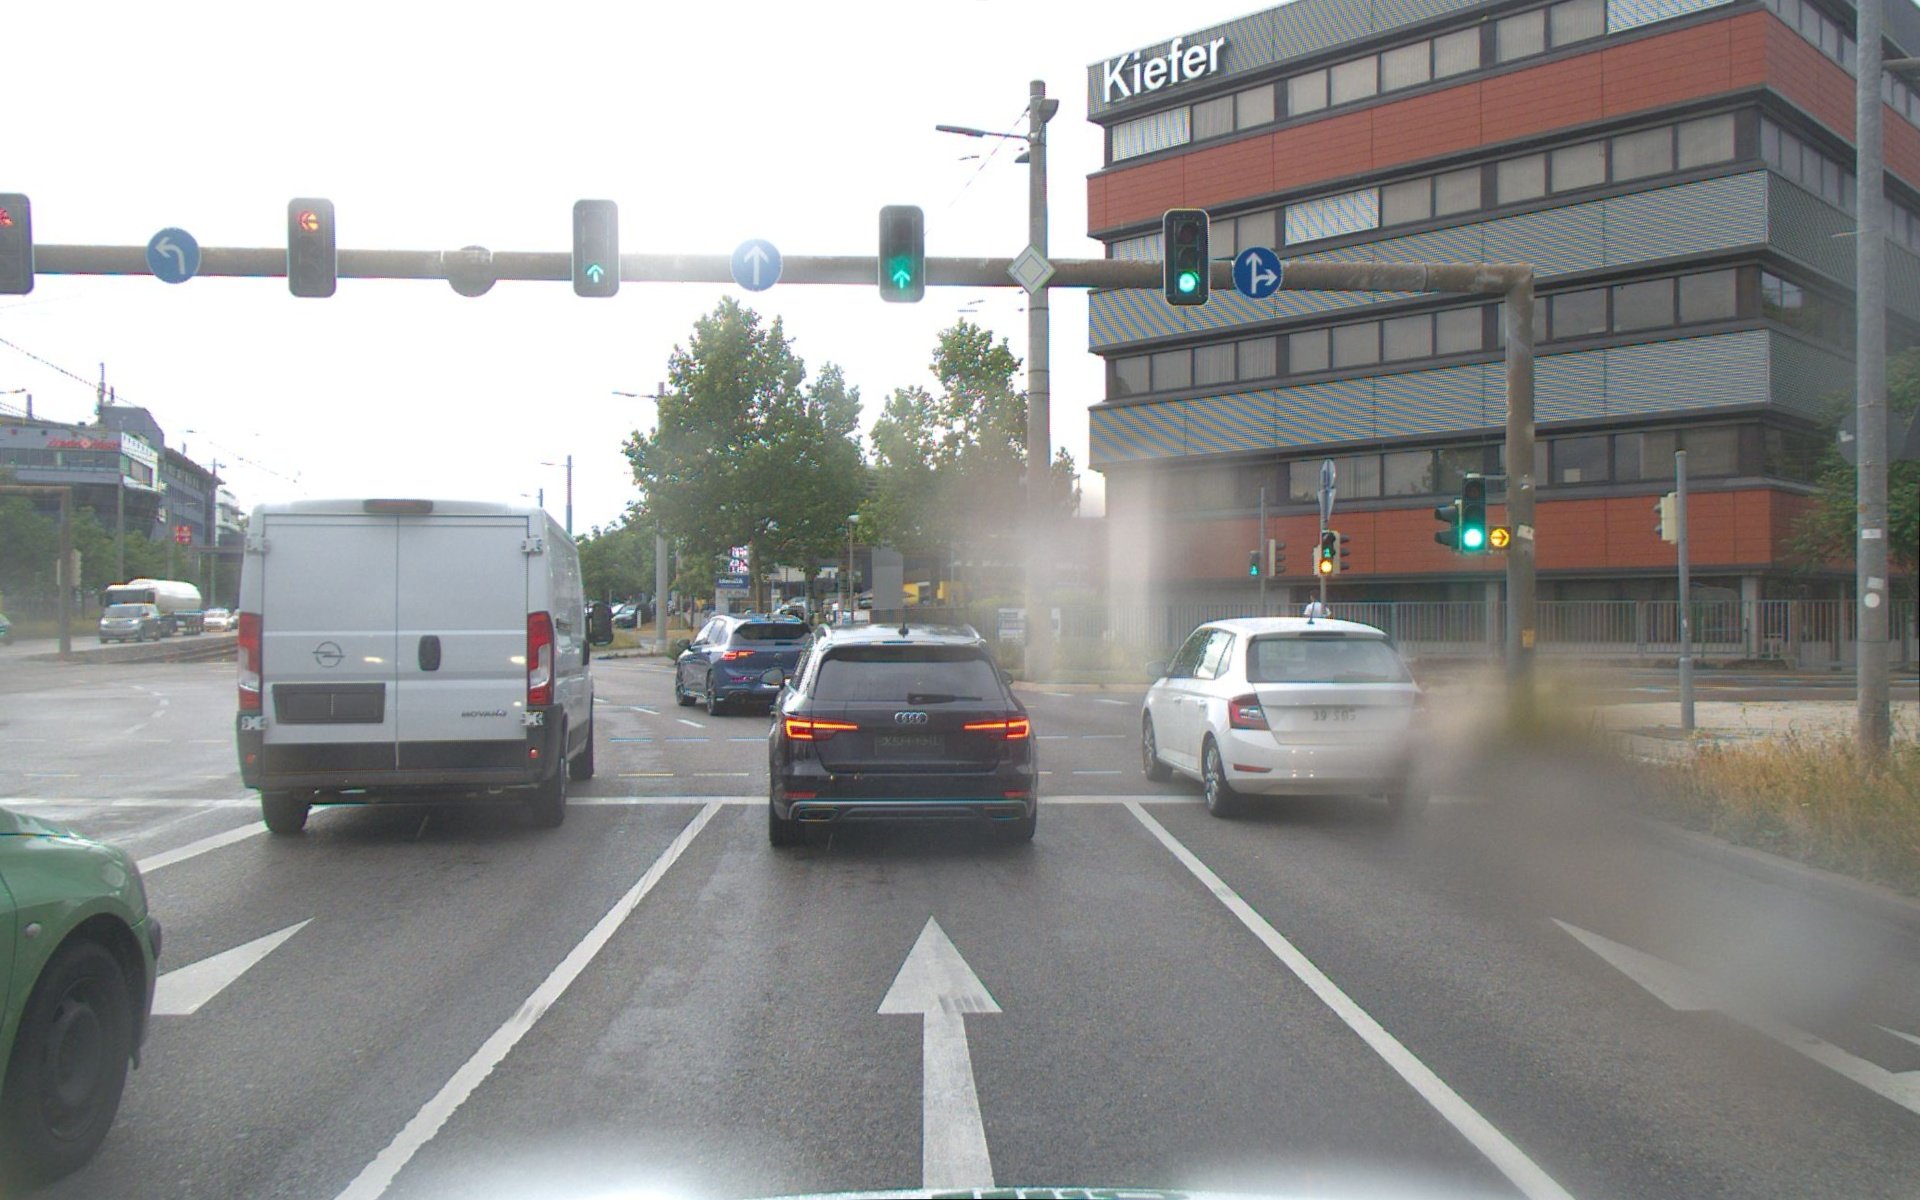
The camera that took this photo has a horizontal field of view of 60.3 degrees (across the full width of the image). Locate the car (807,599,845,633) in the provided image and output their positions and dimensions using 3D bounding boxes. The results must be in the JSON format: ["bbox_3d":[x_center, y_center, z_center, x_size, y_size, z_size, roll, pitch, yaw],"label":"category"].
[{"bbox_3d":[-8.463,1.040,104.110,1.652,2.049,3.525,3,-2,-16],"label":"car"}]

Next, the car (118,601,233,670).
[{"bbox_3d":[-24.986,1.101,52.832,1.738,2.049,4.344,2,-1,-4],"label":"car"}]

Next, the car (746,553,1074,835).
[{"bbox_3d":[-0.319,0.606,11.892,1.953,1.666,3.999,0,-1,-1],"label":"car"}]

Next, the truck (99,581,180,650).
[{"bbox_3d":[-48.016,0.963,96.918,2.695,3.872,5.399,-1,-1,-9],"label":"truck"}]

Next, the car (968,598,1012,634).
[{"bbox_3d":[1.795,0.989,99.220,1.649,2.049,3.121,3,-2,-18],"label":"car"}]

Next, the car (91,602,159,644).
[{"bbox_3d":[-42.271,1.151,83.828,1.960,1.869,4.891,3,0,-14],"label":"car"}]

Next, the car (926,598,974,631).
[{"bbox_3d":[-0.685,0.952,107.567,1.844,2.049,3.749,3,-2,-21],"label":"car"}]

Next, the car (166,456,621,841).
[{"bbox_3d":[-4.016,0.379,12.785,2.400,2.334,4.894,2,-2,-9],"label":"car"}]

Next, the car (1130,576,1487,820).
[{"bbox_3d":[2.656,0.746,13.584,1.793,1.685,3.995,1,-2,-5],"label":"car"}]

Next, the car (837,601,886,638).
[{"bbox_3d":[-5.705,1.098,95.327,1.962,2.068,3.981,0,-1,-17],"label":"car"}]

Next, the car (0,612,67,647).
[{"bbox_3d":[-45.287,1.406,78.633,4.547,1.637,1.994,0,-1,-12],"label":"car"}]

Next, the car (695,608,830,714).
[{"bbox_3d":[-3.080,0.913,25.231,1.859,1.491,3.900,1,-2,-9],"label":"car"}]

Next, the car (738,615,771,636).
[{"bbox_3d":[-15.684,1.940,126.371,1.764,1.619,3.979,0,-1,-18],"label":"car"}]

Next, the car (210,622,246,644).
[{"bbox_3d":[-52.610,2.347,118.900,2.128,1.532,4.273,0,-1,-21],"label":"car"}]

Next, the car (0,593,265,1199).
[{"bbox_3d":[-3.004,0.677,2.959,1.660,1.494,4.402,2,-2,-1],"label":"car"}]

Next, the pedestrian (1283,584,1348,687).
[{"bbox_3d":[7.699,0.749,35.898,1.120,2.163,1.222,-1,1,-1],"label":"pedestrian"}]

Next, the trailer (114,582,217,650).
[{"bbox_3d":[-48.894,1.054,102.193,2.675,3.922,11.202,-1,-1,-10],"label":"trailer"}]
